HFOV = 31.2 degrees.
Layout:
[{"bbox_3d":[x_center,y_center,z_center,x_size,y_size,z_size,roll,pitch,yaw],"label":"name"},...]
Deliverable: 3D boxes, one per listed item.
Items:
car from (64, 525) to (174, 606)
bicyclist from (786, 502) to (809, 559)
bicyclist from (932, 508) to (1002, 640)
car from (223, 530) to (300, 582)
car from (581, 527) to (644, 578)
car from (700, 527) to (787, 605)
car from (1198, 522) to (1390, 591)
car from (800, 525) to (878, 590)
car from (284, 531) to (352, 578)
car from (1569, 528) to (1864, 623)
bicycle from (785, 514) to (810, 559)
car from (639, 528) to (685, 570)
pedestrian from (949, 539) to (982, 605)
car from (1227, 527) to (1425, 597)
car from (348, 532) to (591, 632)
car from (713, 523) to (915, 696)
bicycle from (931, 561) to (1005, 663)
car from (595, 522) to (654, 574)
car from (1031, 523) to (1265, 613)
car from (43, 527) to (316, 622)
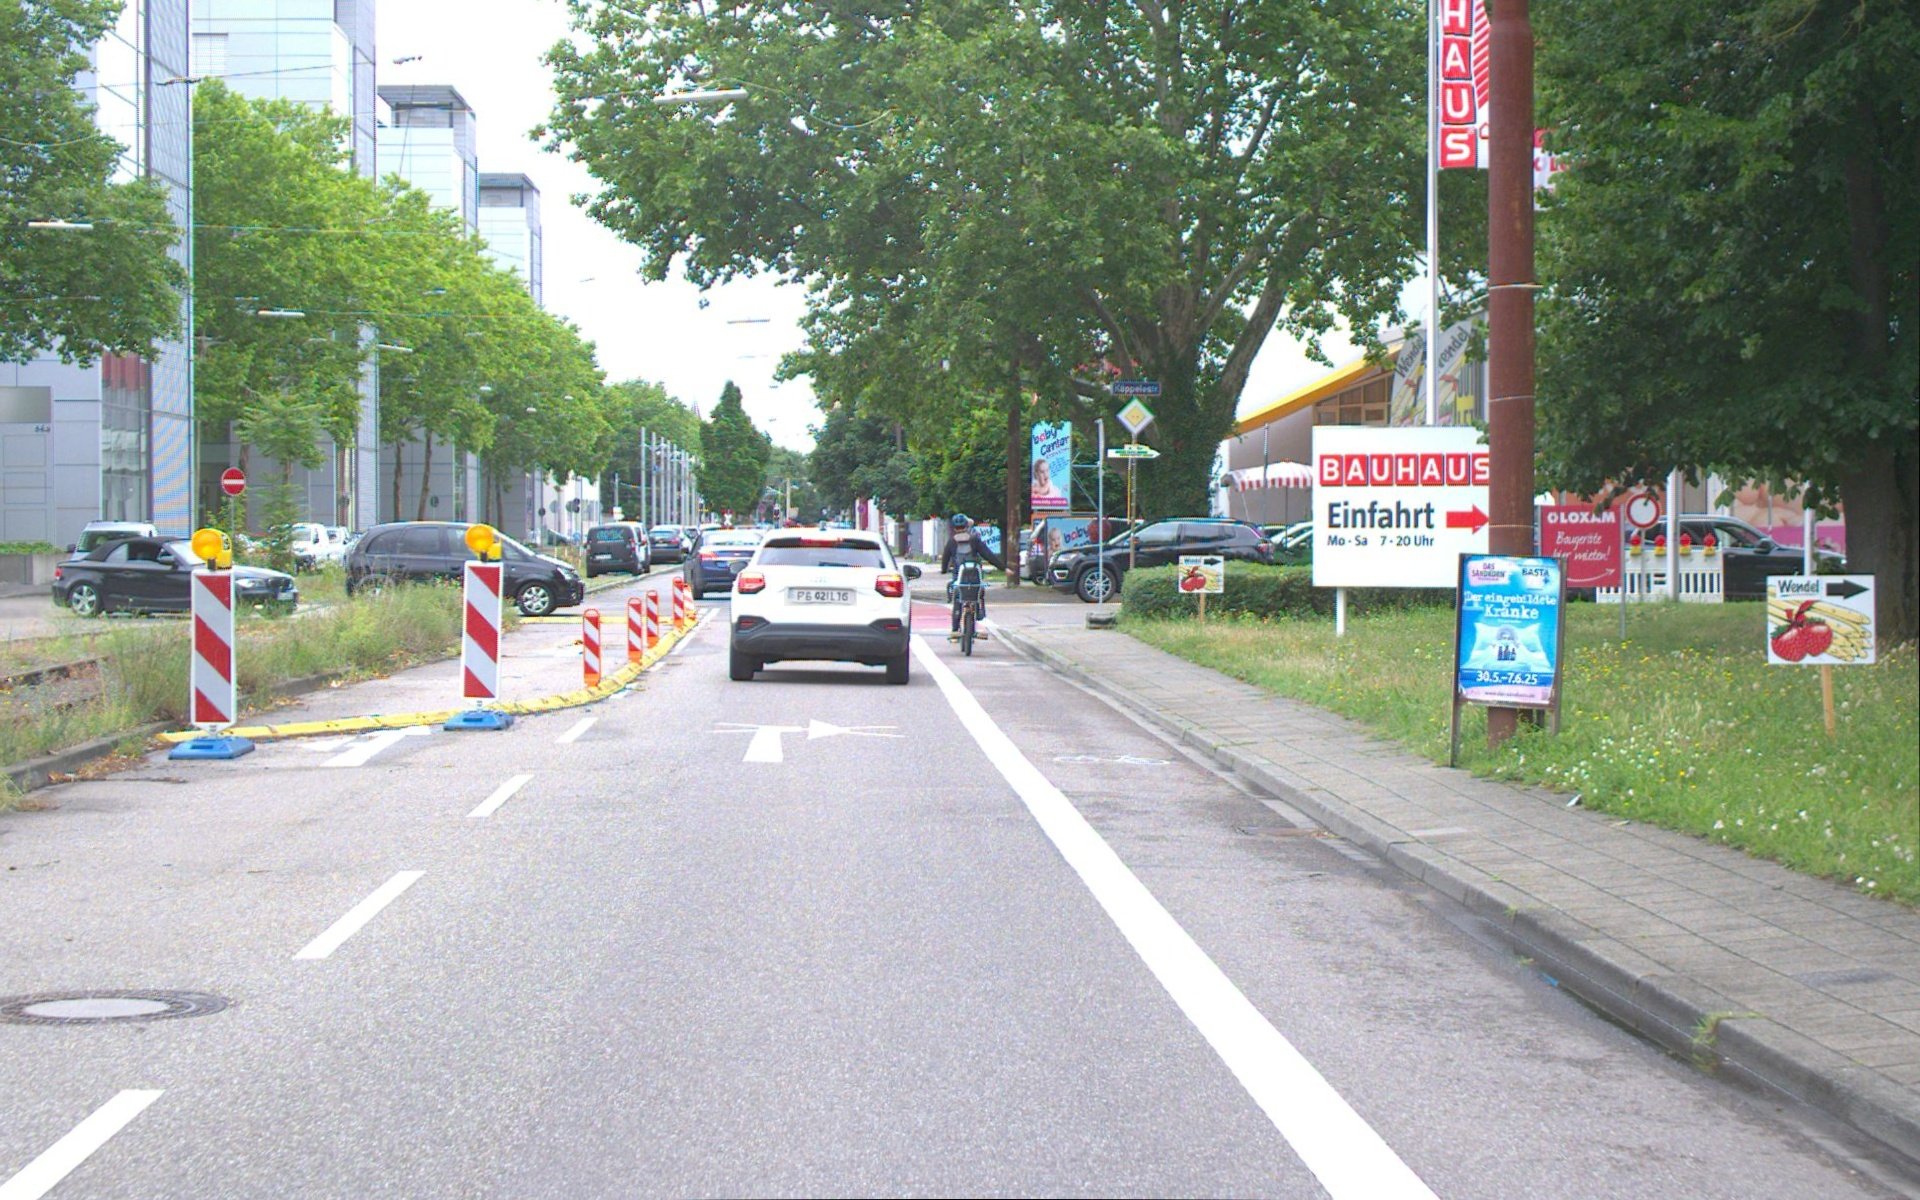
[{"bbox_3d":[-19.146,-0.807,78.444,1.819,1.777,4.427,0,1,-6],"label":"car"},{"bbox_3d":[-5.150,-2.206,108.941,0.670,1.809,0.760,1,1,-5],"label":"bicyclist"},{"bbox_3d":[0.079,-0.338,43.110,0.816,1.624,1.235,0,1,-2],"label":"bicyclist"},{"bbox_3d":[-22.498,-1.434,110.814,1.877,1.627,4.001,-1,1,-4],"label":"car"},{"bbox_3d":[-11.393,-1.577,112.982,1.877,1.627,4.001,-1,1,-4],"label":"car"},{"bbox_3d":[-4.527,-0.732,71.523,1.684,1.508,3.707,1,2,-5],"label":"car"},{"bbox_3d":[7.799,-1.025,80.479,4.212,1.546,1.790,0,1,-5],"label":"car"},{"bbox_3d":[-3.157,-1.129,89.036,1.877,1.627,4.001,-1,1,-4],"label":"car"},{"bbox_3d":[-22.951,-1.649,122.996,1.877,1.627,4.206,-1,1,-4],"label":"car"},{"bbox_3d":[12.881,-0.436,58.717,4.552,1.566,1.993,0,1,-2],"label":"car"},{"bbox_3d":[-5.146,-2.004,108.752,0.670,1.389,2.167,1,1,-5],"label":"bicycle"},{"bbox_3d":[-12.743,-2.183,147.175,1.877,1.757,4.001,-1,1,-4],"label":"car"},{"bbox_3d":[0.145,-0.730,89.129,0.760,1.699,0.682,-1,1,-7],"label":"pedestrian"},{"bbox_3d":[8.316,-0.882,78.352,4.212,1.546,1.790,0,1,-5],"label":"car"},{"bbox_3d":[-8.287,-0.312,58.323,3.882,1.550,1.826,2,1,-2],"label":"car"},{"bbox_3d":[-1.533,0.051,34.867,1.823,1.595,3.777,1,1,-5],"label":"car"},{"bbox_3d":[0.085,0.134,43.121,0.816,1.208,2.683,0,1,-2],"label":"bicycle"},{"bbox_3d":[-11.577,-1.814,118.794,1.877,1.757,4.001,-1,1,-4],"label":"car"},{"bbox_3d":[3.577,-0.628,65.871,4.313,1.671,1.993,0,1,-2],"label":"car"},{"bbox_3d":[-13.069,-0.416,57.586,4.120,1.470,1.823,-1,0,20],"label":"car"}]
